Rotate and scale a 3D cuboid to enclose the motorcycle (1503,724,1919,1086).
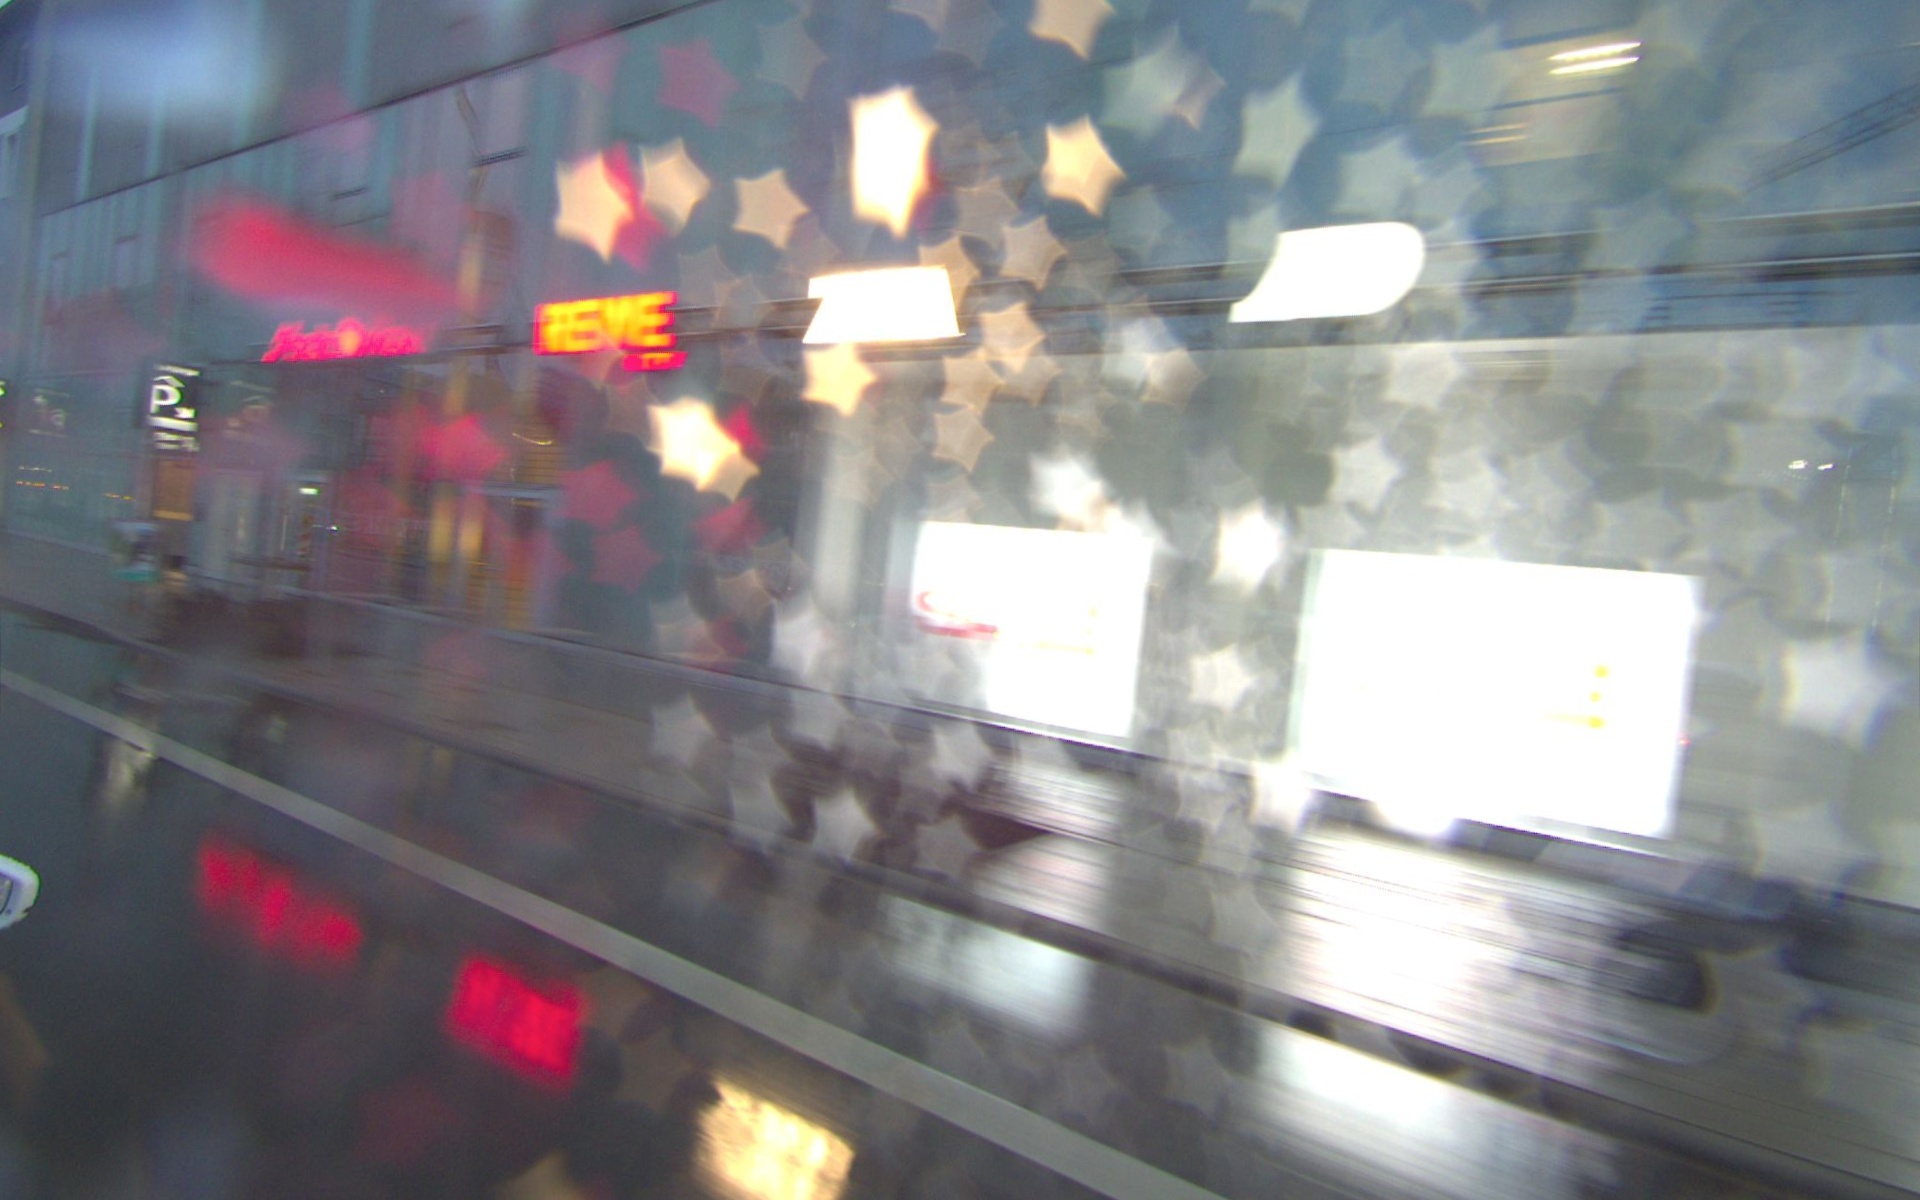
[{"bbox_3d":[3.481,1.333,4.508,1.881,1.350,0.593,6,0,-17],"label":"motorcycle"}]
